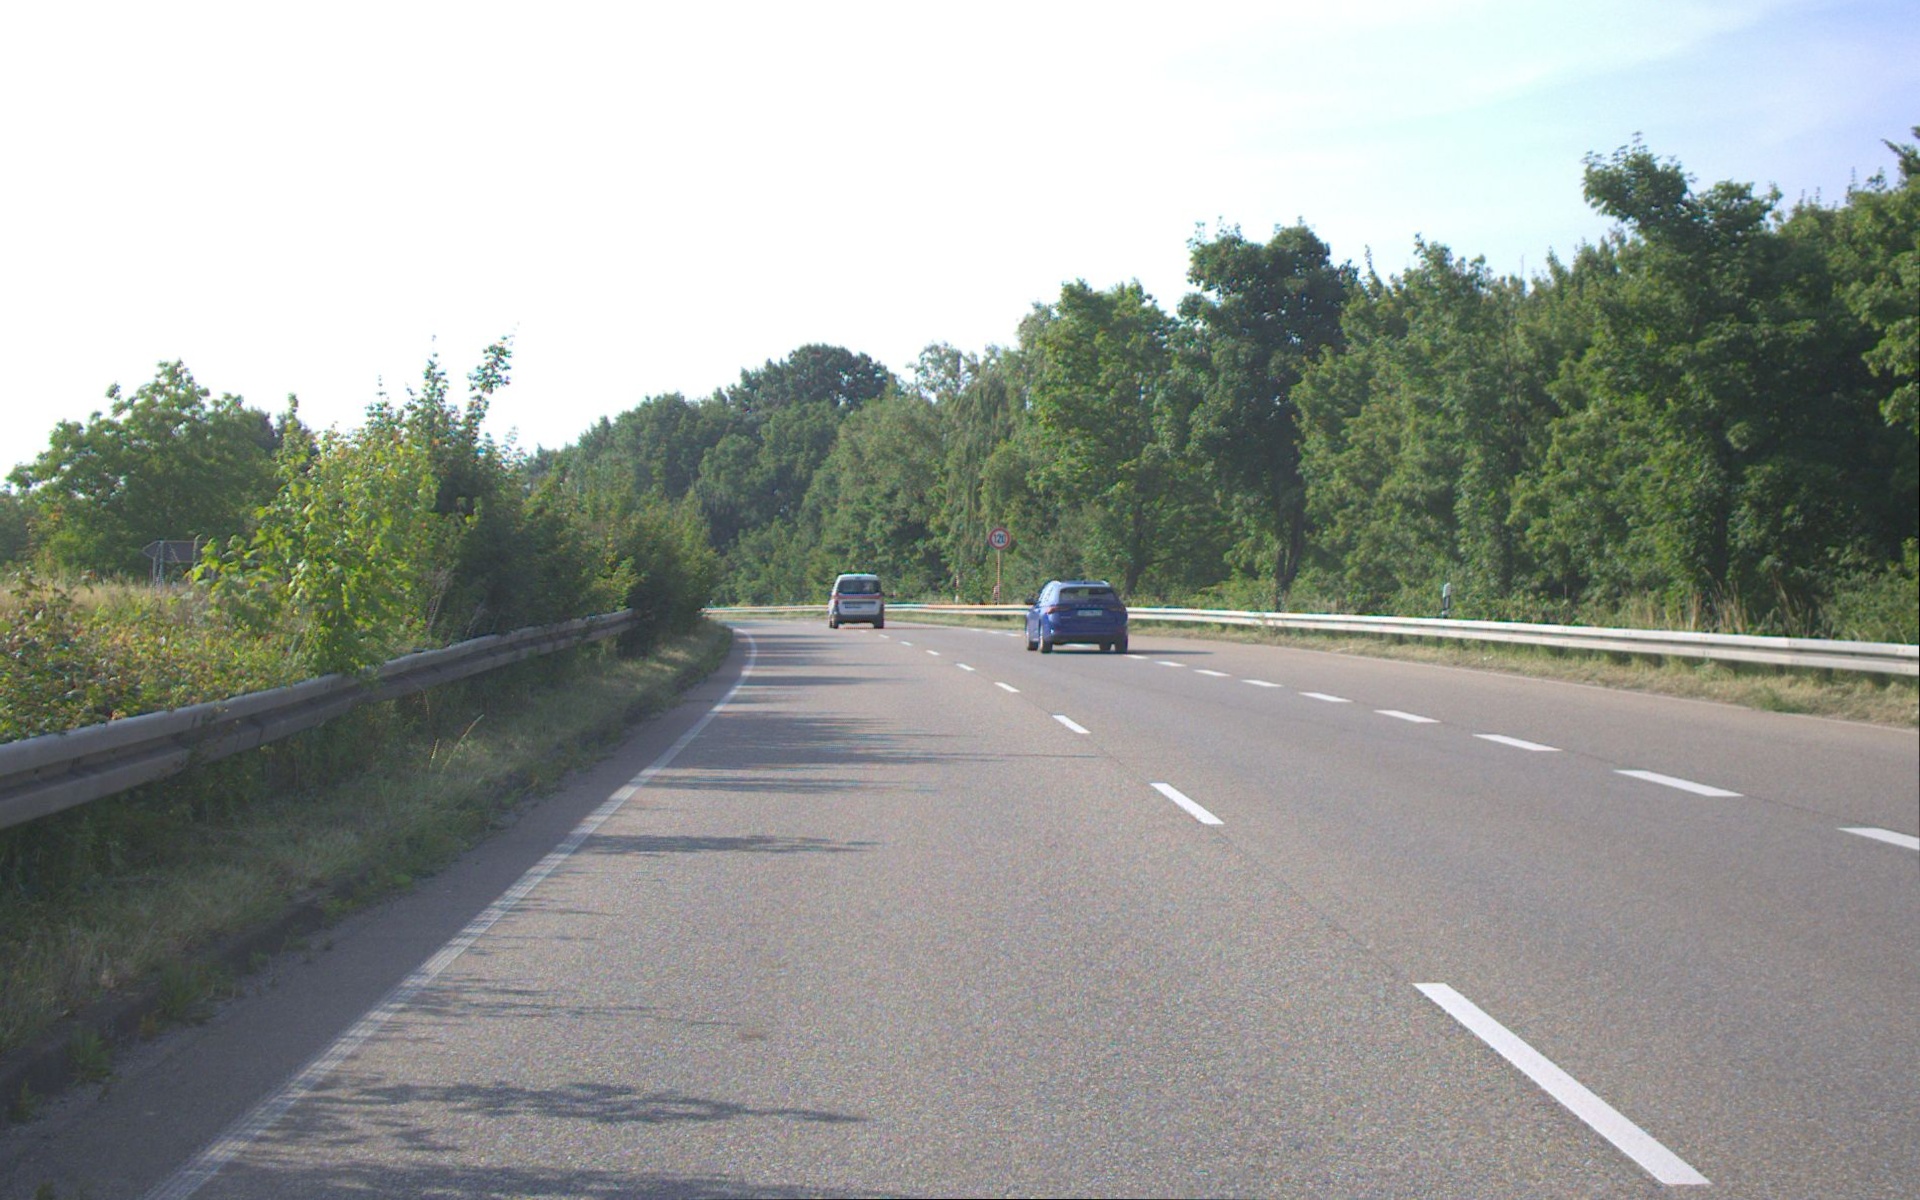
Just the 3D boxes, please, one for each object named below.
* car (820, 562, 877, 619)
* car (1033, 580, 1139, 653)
[{"bbox_3d":[-3.710,-0.324,113.926,1.765,1.875,4.000,0,0,-3],"label":"car"},{"bbox_3d":[2.541,0.330,70.149,1.779,1.447,4.000,0,0,-4],"label":"car"}]
